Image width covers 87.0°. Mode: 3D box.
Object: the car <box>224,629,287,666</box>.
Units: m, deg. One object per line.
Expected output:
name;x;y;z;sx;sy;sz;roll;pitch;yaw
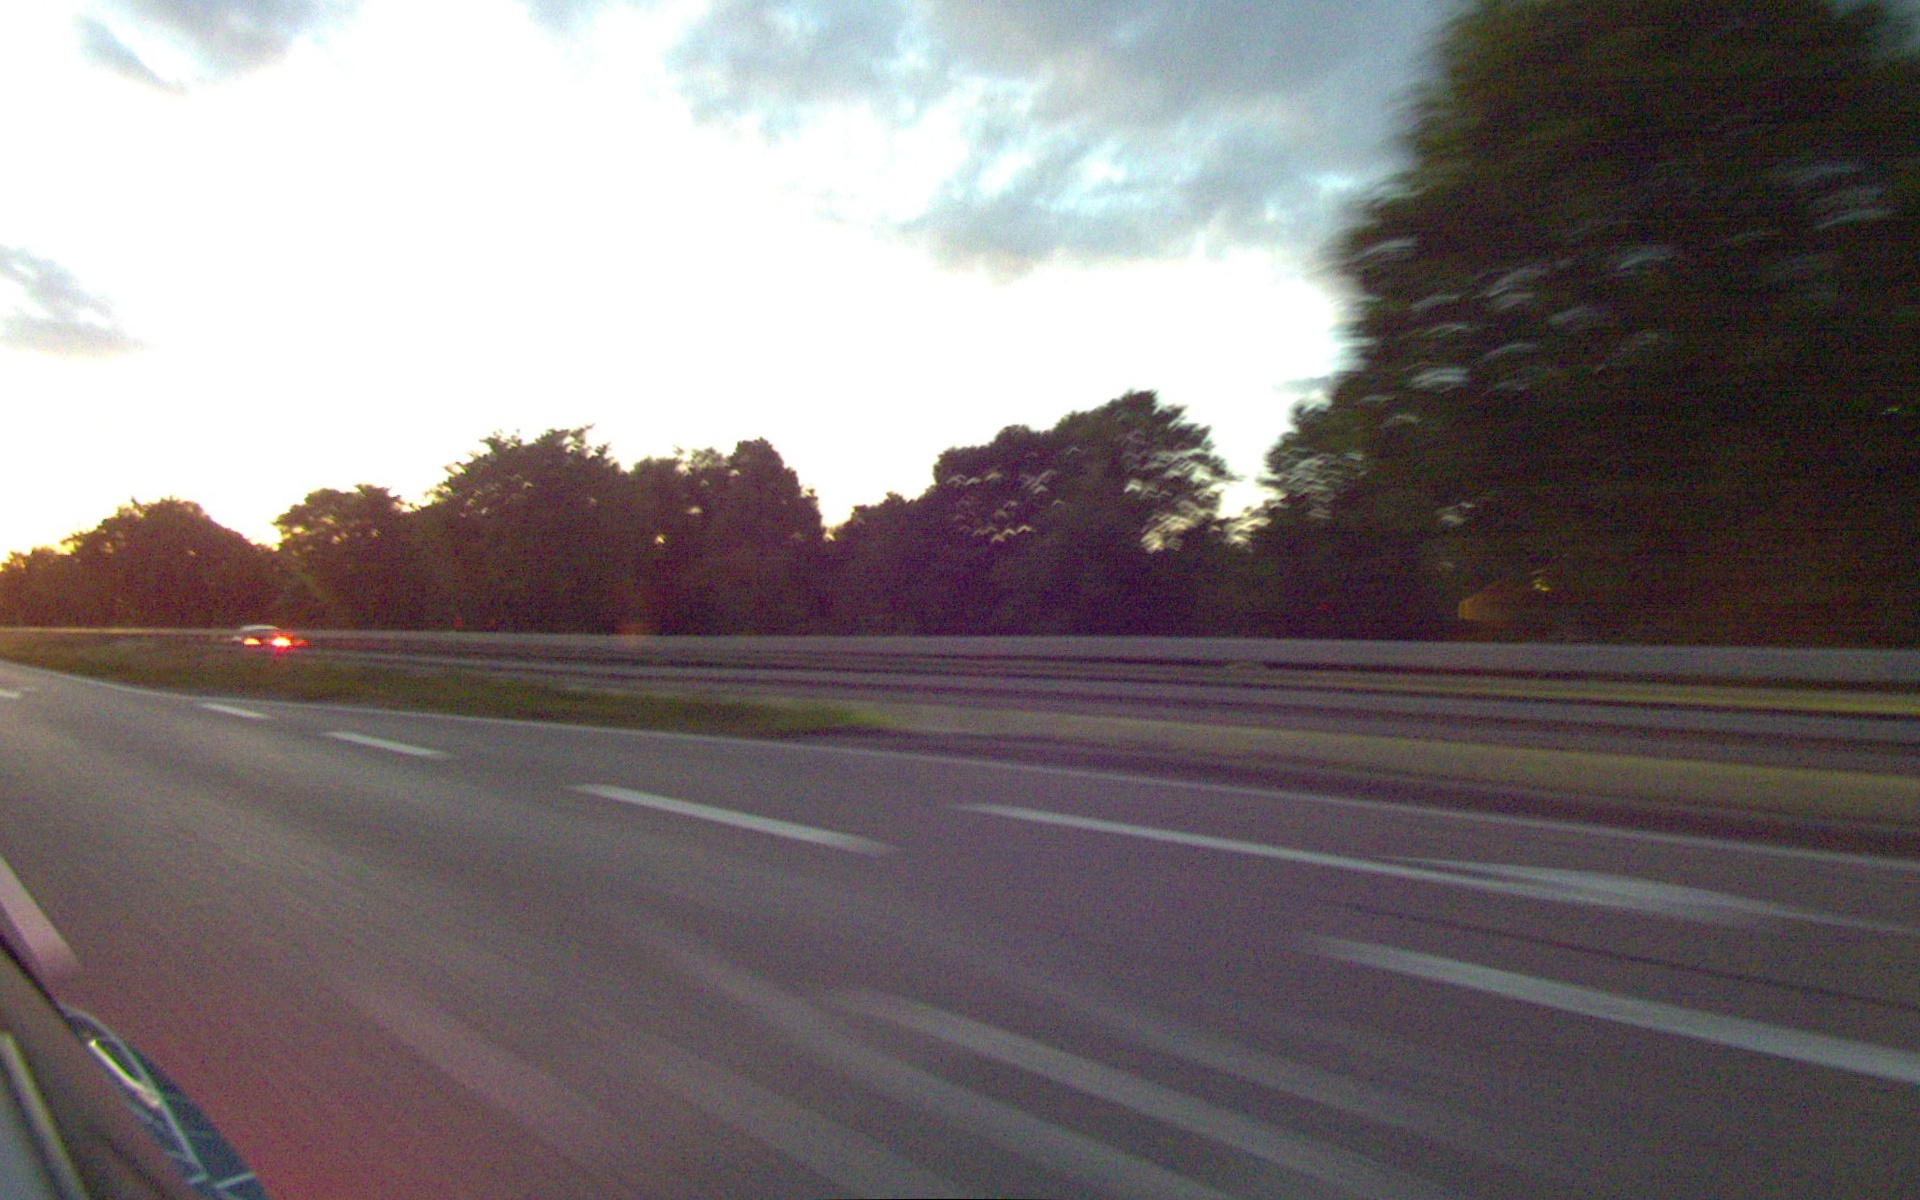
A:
car;-35.121;2.333;50.431;3.998;1.771;1.652;-2;-1;41
